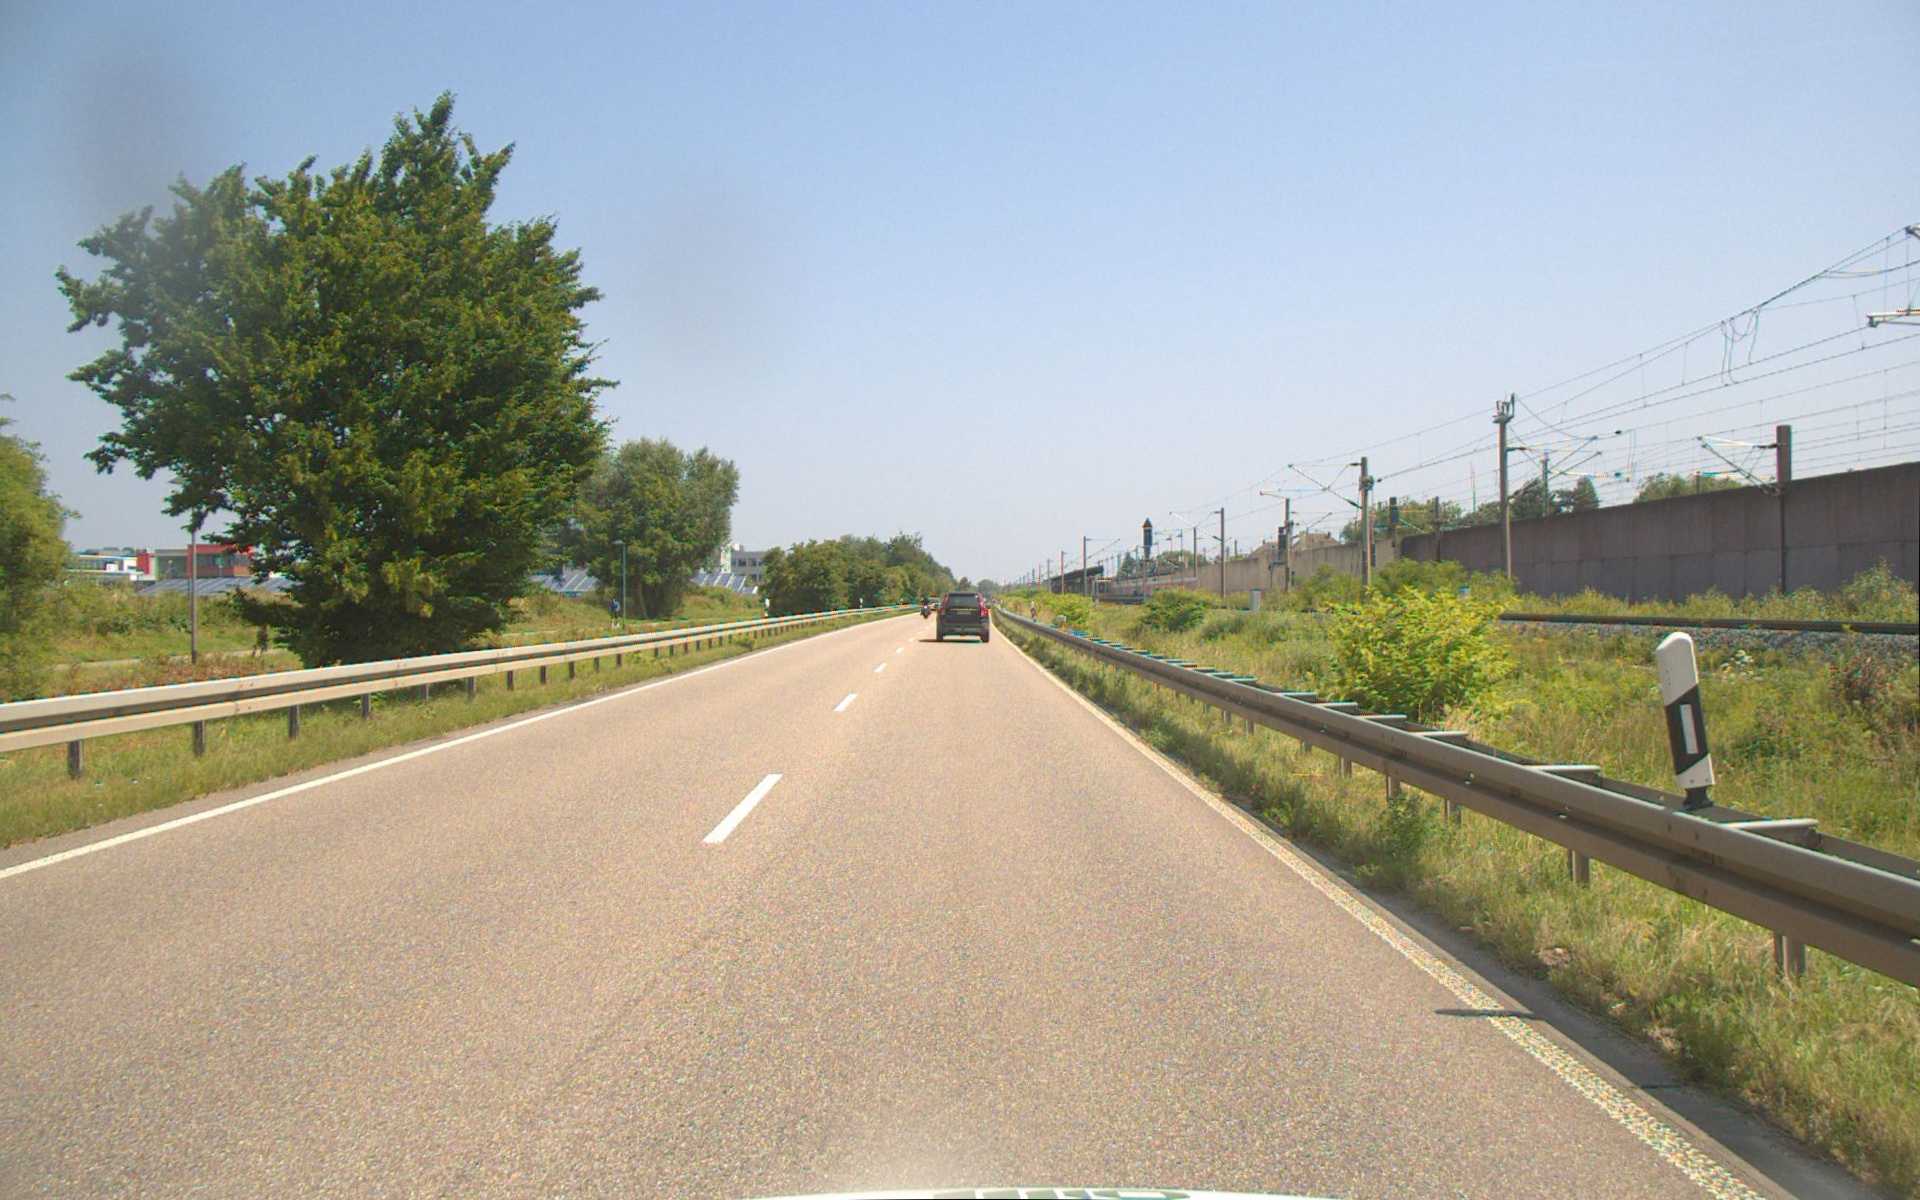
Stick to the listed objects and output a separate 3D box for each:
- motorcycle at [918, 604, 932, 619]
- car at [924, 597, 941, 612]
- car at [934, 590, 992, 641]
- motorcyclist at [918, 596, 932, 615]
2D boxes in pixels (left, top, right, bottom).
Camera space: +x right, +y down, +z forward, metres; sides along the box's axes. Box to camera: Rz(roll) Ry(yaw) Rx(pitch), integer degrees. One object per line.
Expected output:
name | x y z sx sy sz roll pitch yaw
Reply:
motorcycle | -2.553 0.805 120.010 0.909 1.046 2.268 1 0 0
car | -2.842 0.447 170.490 1.663 1.500 4.686 1 0 0
car | 0.063 0.524 58.402 1.953 1.730 3.999 0 0 -1
motorcyclist | -2.550 0.391 119.986 0.973 1.333 0.935 1 0 0
